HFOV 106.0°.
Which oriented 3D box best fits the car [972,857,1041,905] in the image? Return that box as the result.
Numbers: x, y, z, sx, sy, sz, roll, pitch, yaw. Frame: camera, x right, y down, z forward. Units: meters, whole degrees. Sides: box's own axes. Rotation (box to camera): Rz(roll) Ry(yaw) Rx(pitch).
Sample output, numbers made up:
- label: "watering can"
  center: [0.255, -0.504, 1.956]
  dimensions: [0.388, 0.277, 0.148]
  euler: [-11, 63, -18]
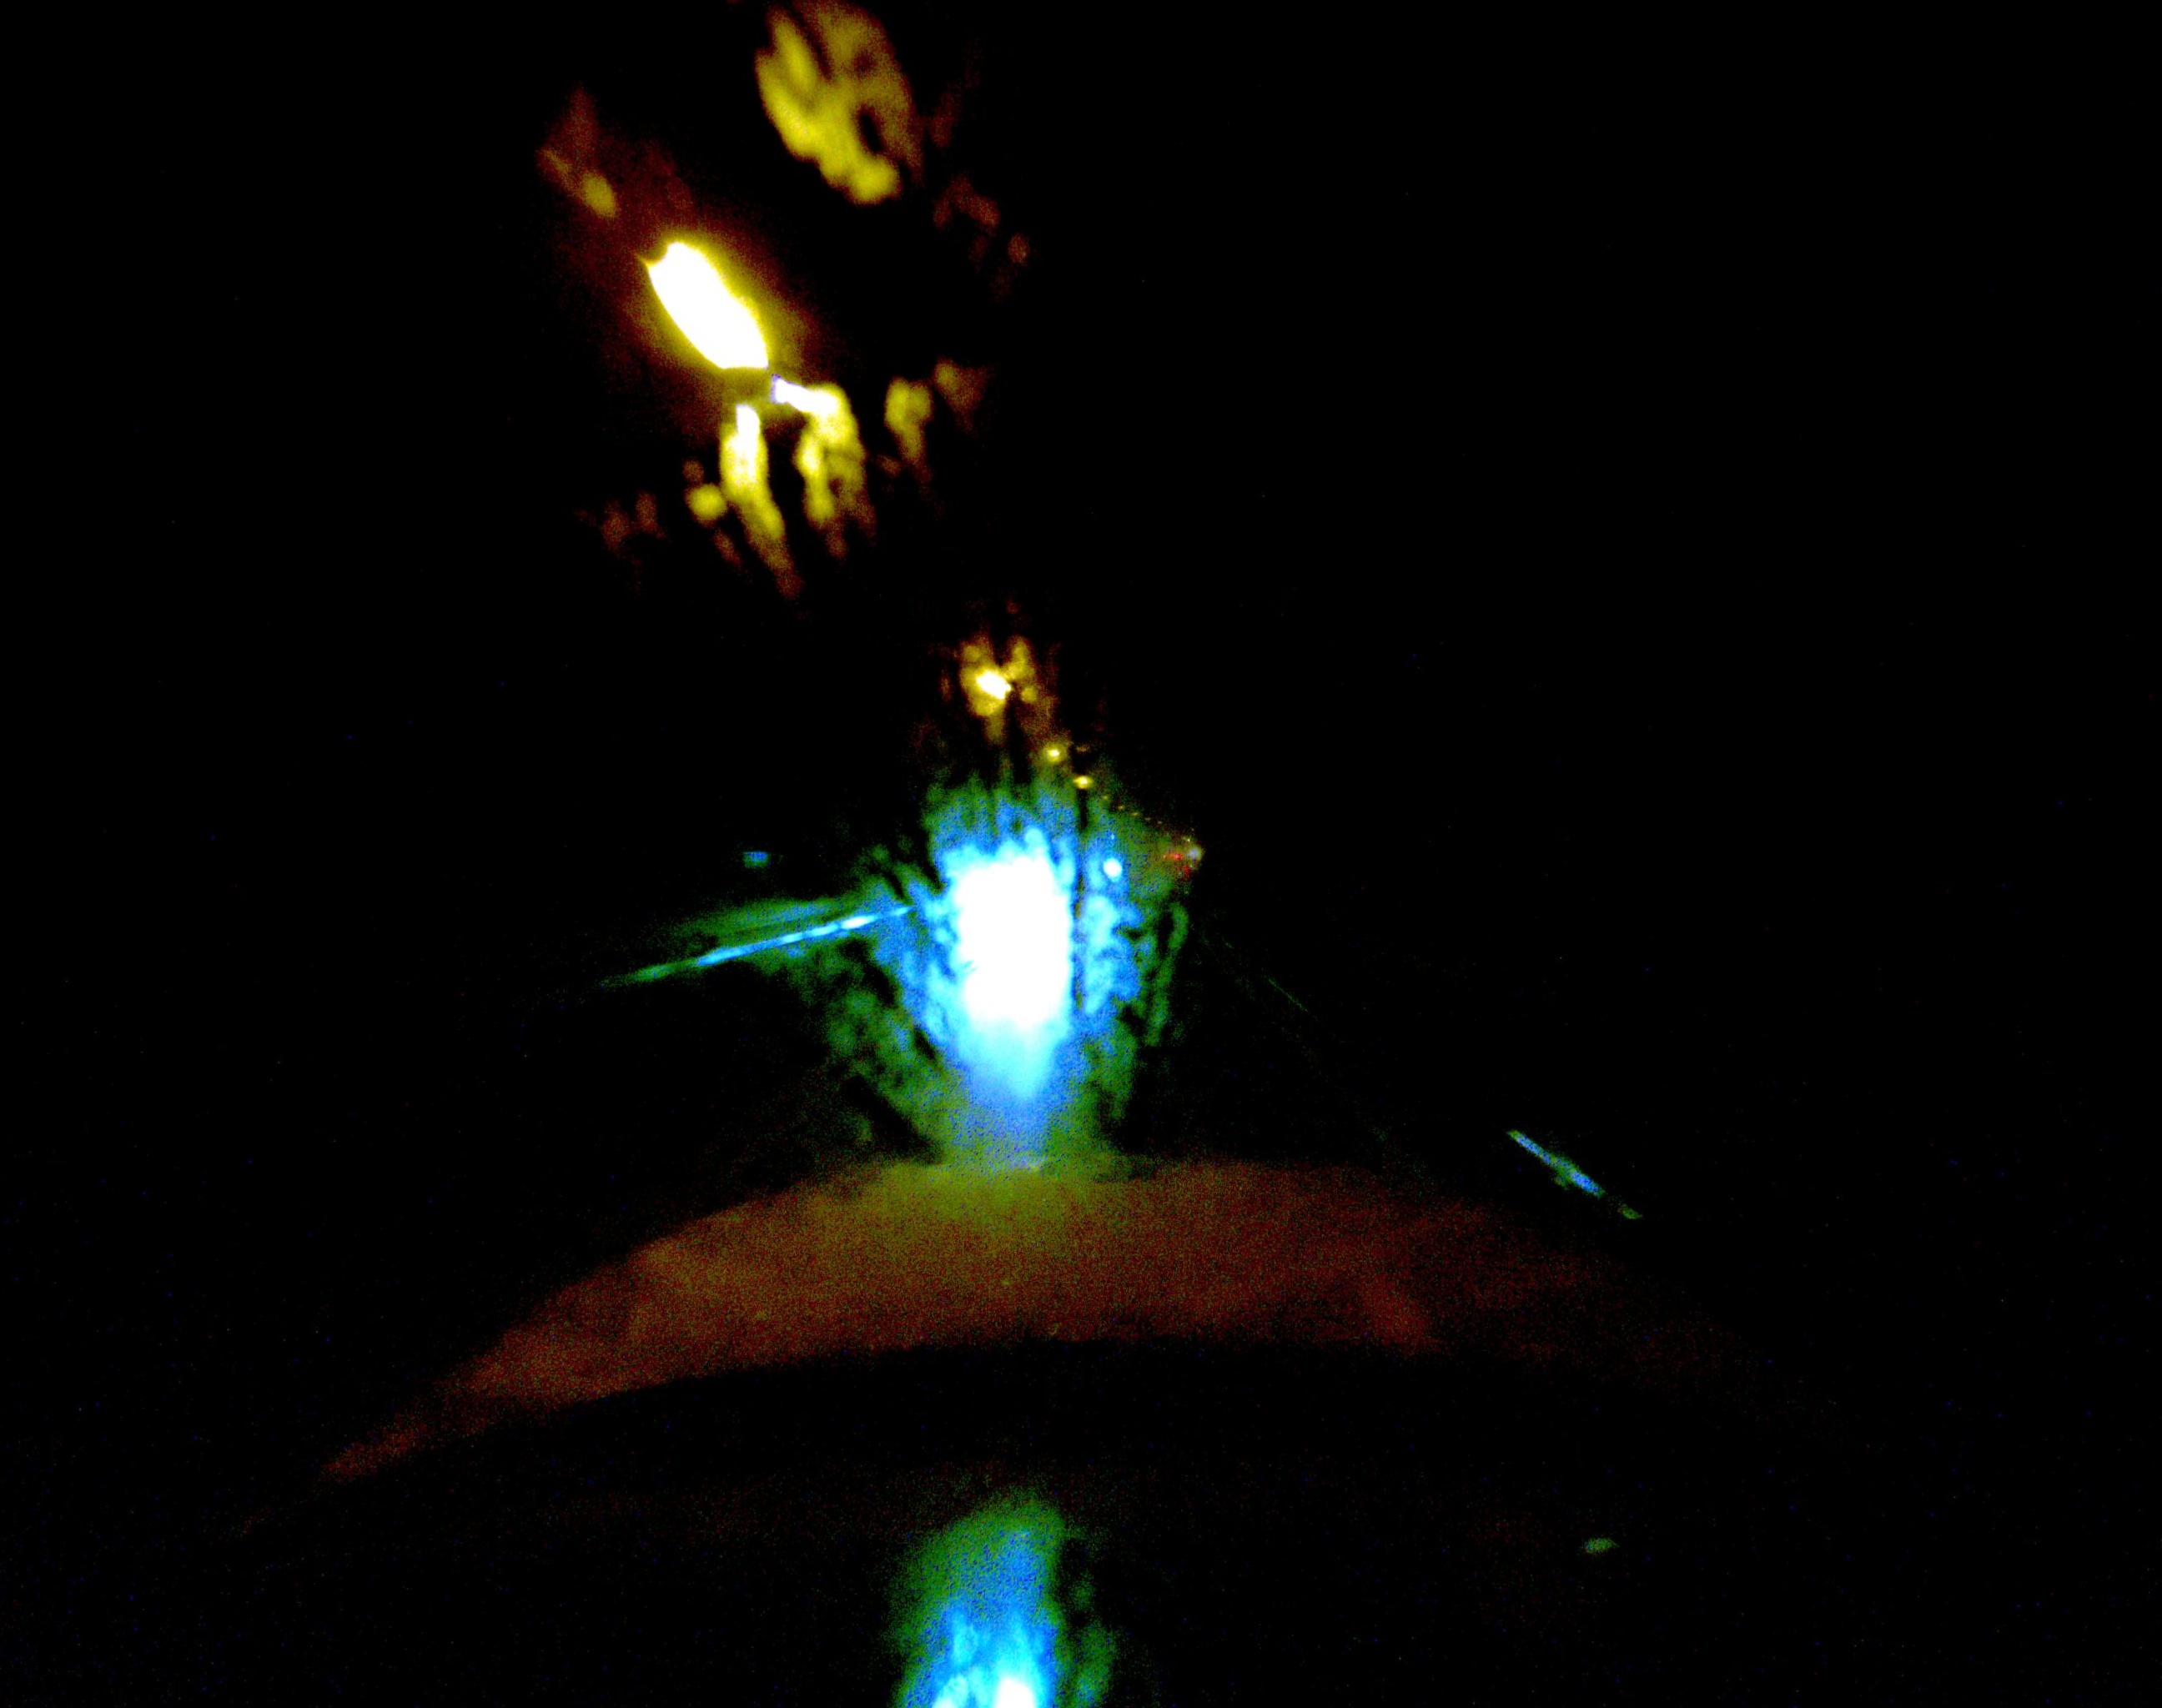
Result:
- label: "car"
  center: [-2.288, 0.792, 25.858]
  dimensions: [1.623, 1.397, 4.003]
  euler: [0, 0, 3]

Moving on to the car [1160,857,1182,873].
- label: "car"
  center: [9.612, 1.182, 86.503]
  dimensions: [1.980, 1.650, 4.013]
  euler: [0, 0, 11]
